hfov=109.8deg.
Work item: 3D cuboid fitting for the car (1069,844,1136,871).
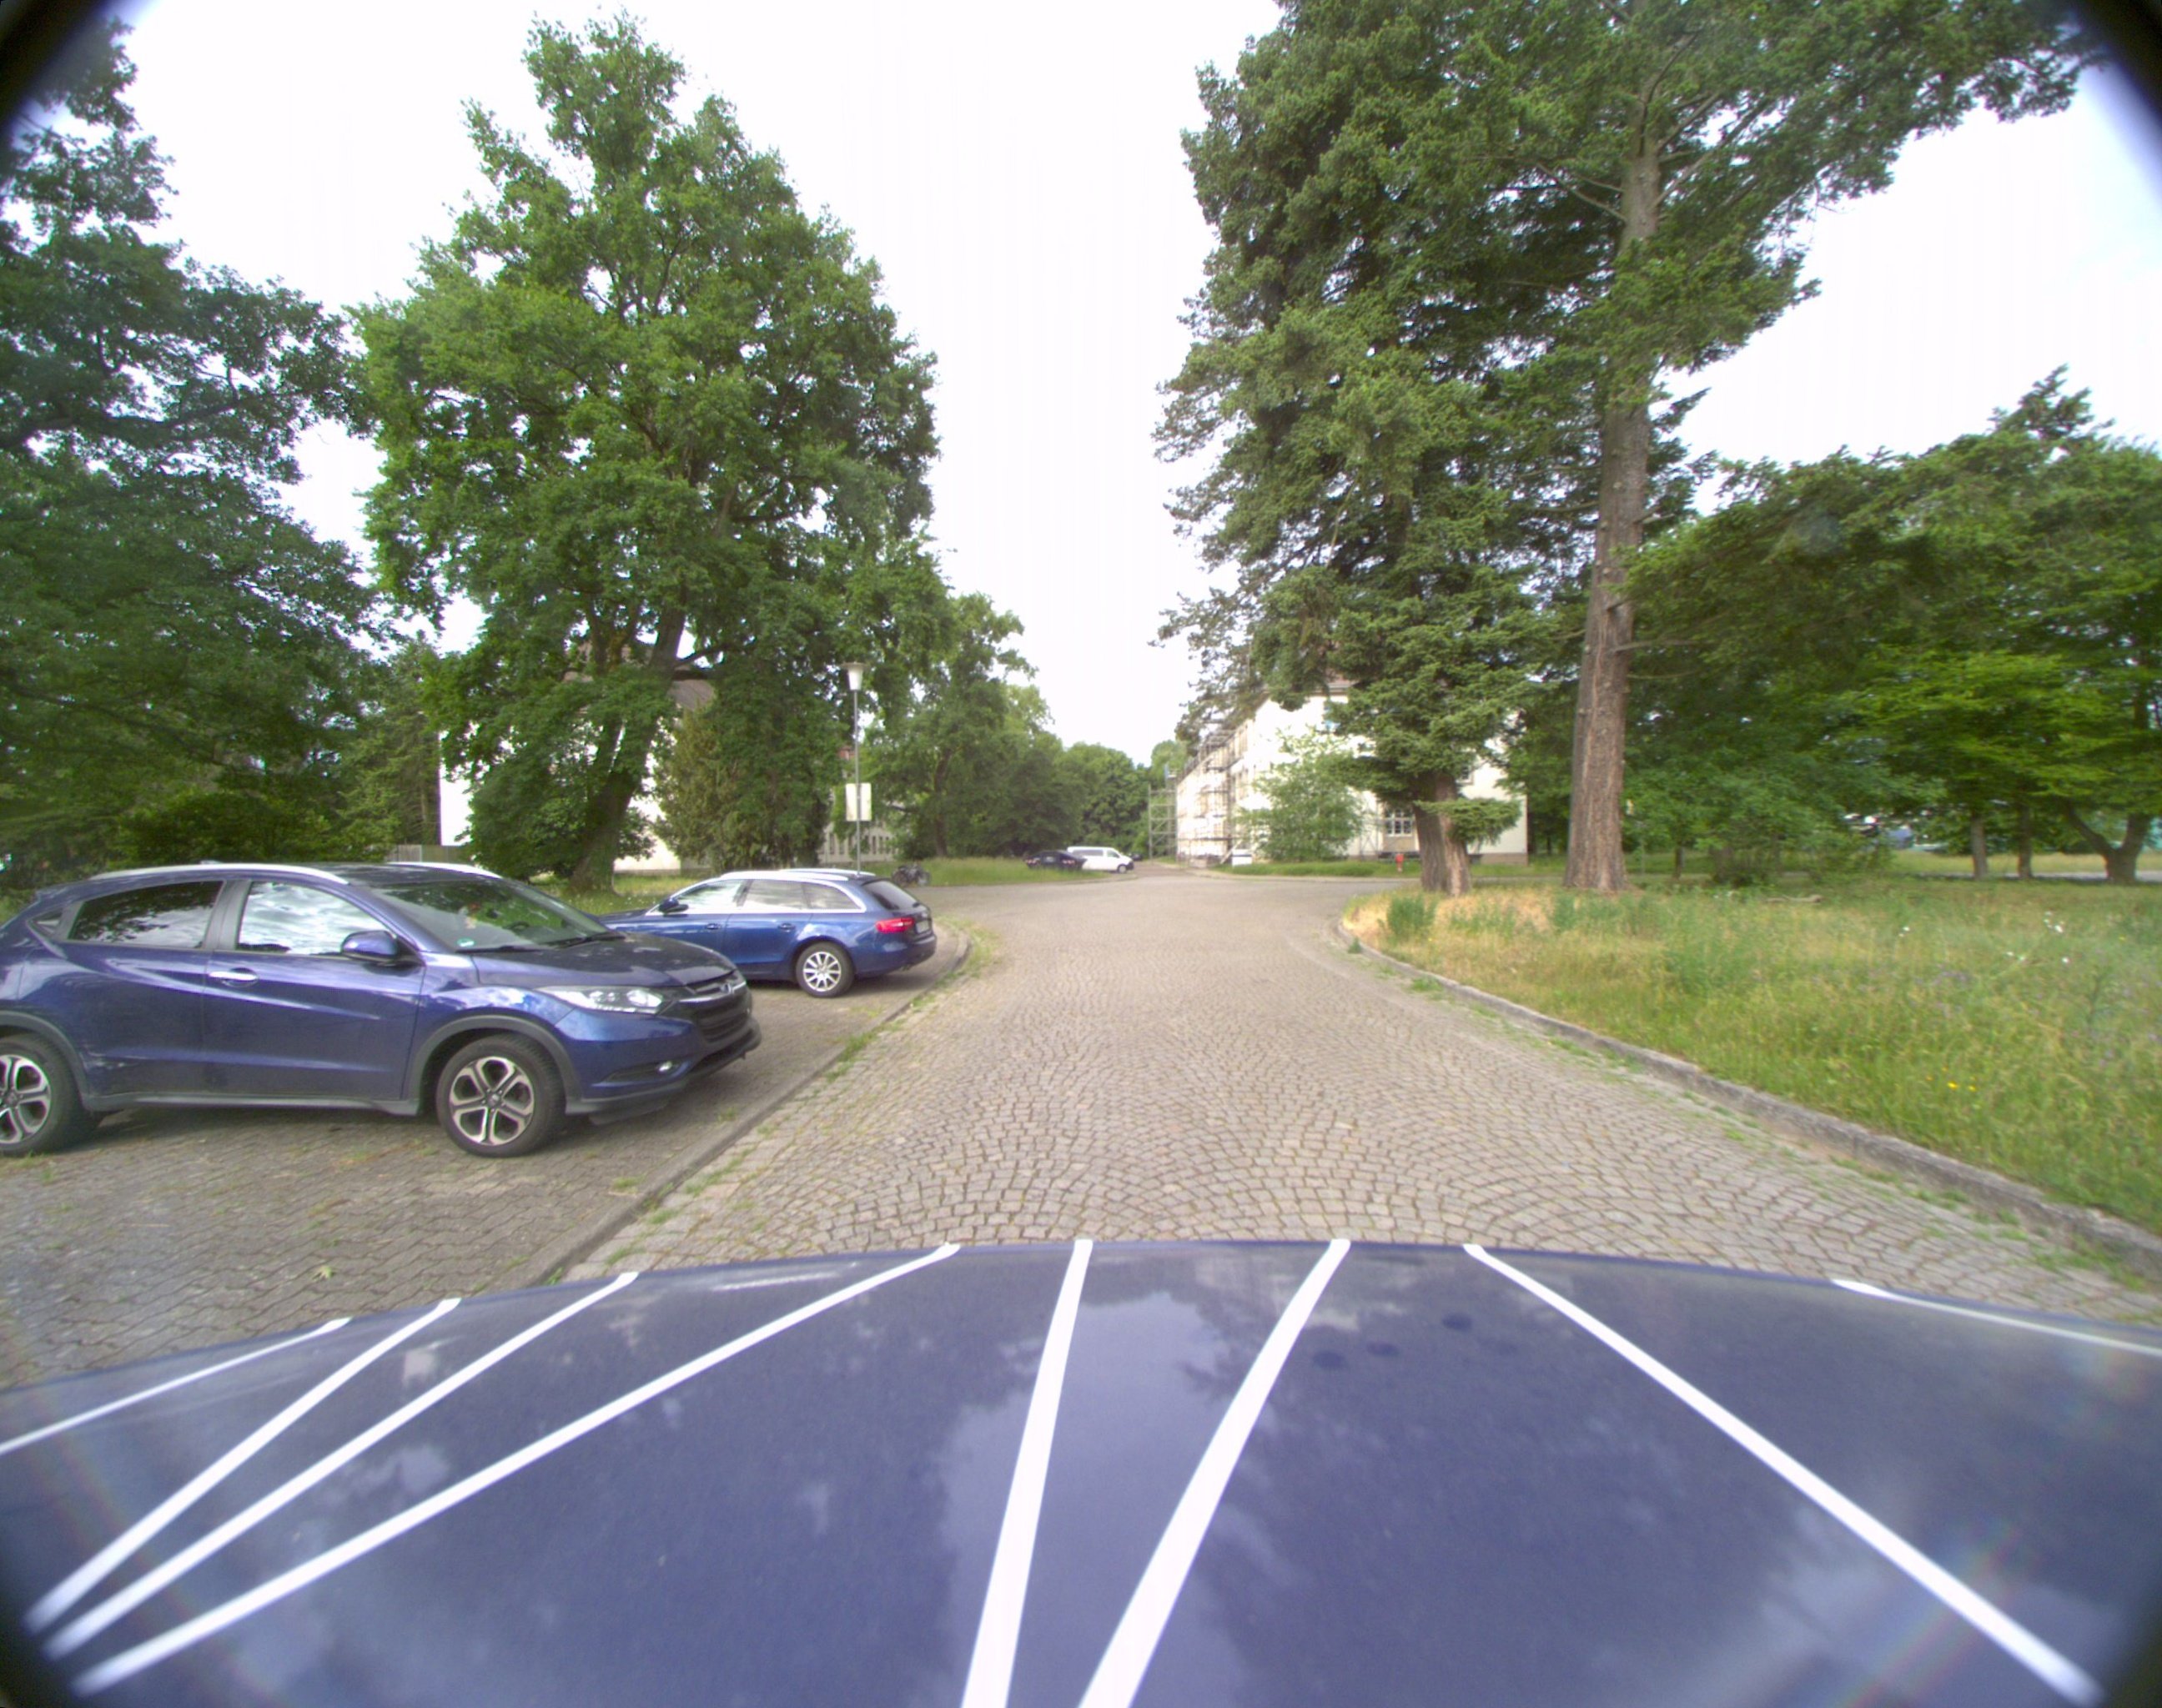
[{"bbox_3d":[1.636,0.269,58.170,5.100,2.007,2.054,0,1,1],"label":"car"}]

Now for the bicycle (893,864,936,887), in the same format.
[{"bbox_3d":[-8.372,1.083,38.164,1.976,1.070,0.587,-2,1,-26],"label":"bicycle"}]

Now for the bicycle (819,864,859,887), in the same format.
[{"bbox_3d":[-12.457,1.098,39.117,1.859,1.116,0.620,-2,1,-21],"label":"bicycle"}]

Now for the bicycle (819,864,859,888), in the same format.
[{"bbox_3d":[-12.274,1.099,38.501,1.859,1.116,0.620,-2,1,-21],"label":"bicycle"}]

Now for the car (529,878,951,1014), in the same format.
[{"bbox_3d":[-4.051,1.050,9.466,4.479,1.413,1.785,0,1,5],"label":"car"}]

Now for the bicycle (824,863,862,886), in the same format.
[{"bbox_3d":[-12.766,1.089,40.786,1.859,1.116,0.620,-2,1,-21],"label":"bicycle"}]

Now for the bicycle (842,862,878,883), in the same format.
[{"bbox_3d":[-12.497,1.043,42.998,1.859,1.116,0.620,-2,1,-21],"label":"bicycle"}]

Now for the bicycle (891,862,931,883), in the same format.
[{"bbox_3d":[-9.357,0.990,41.879,2.032,1.070,0.620,-2,1,-21],"label":"bicycle"}]

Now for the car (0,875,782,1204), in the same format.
[{"bbox_3d":[-4.343,0.990,4.772,4.172,1.563,1.793,-1,2,2],"label":"car"}]

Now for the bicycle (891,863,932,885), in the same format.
[{"bbox_3d":[-8.842,1.046,39.759,1.976,1.070,0.587,-2,1,-26],"label":"bicycle"}]
